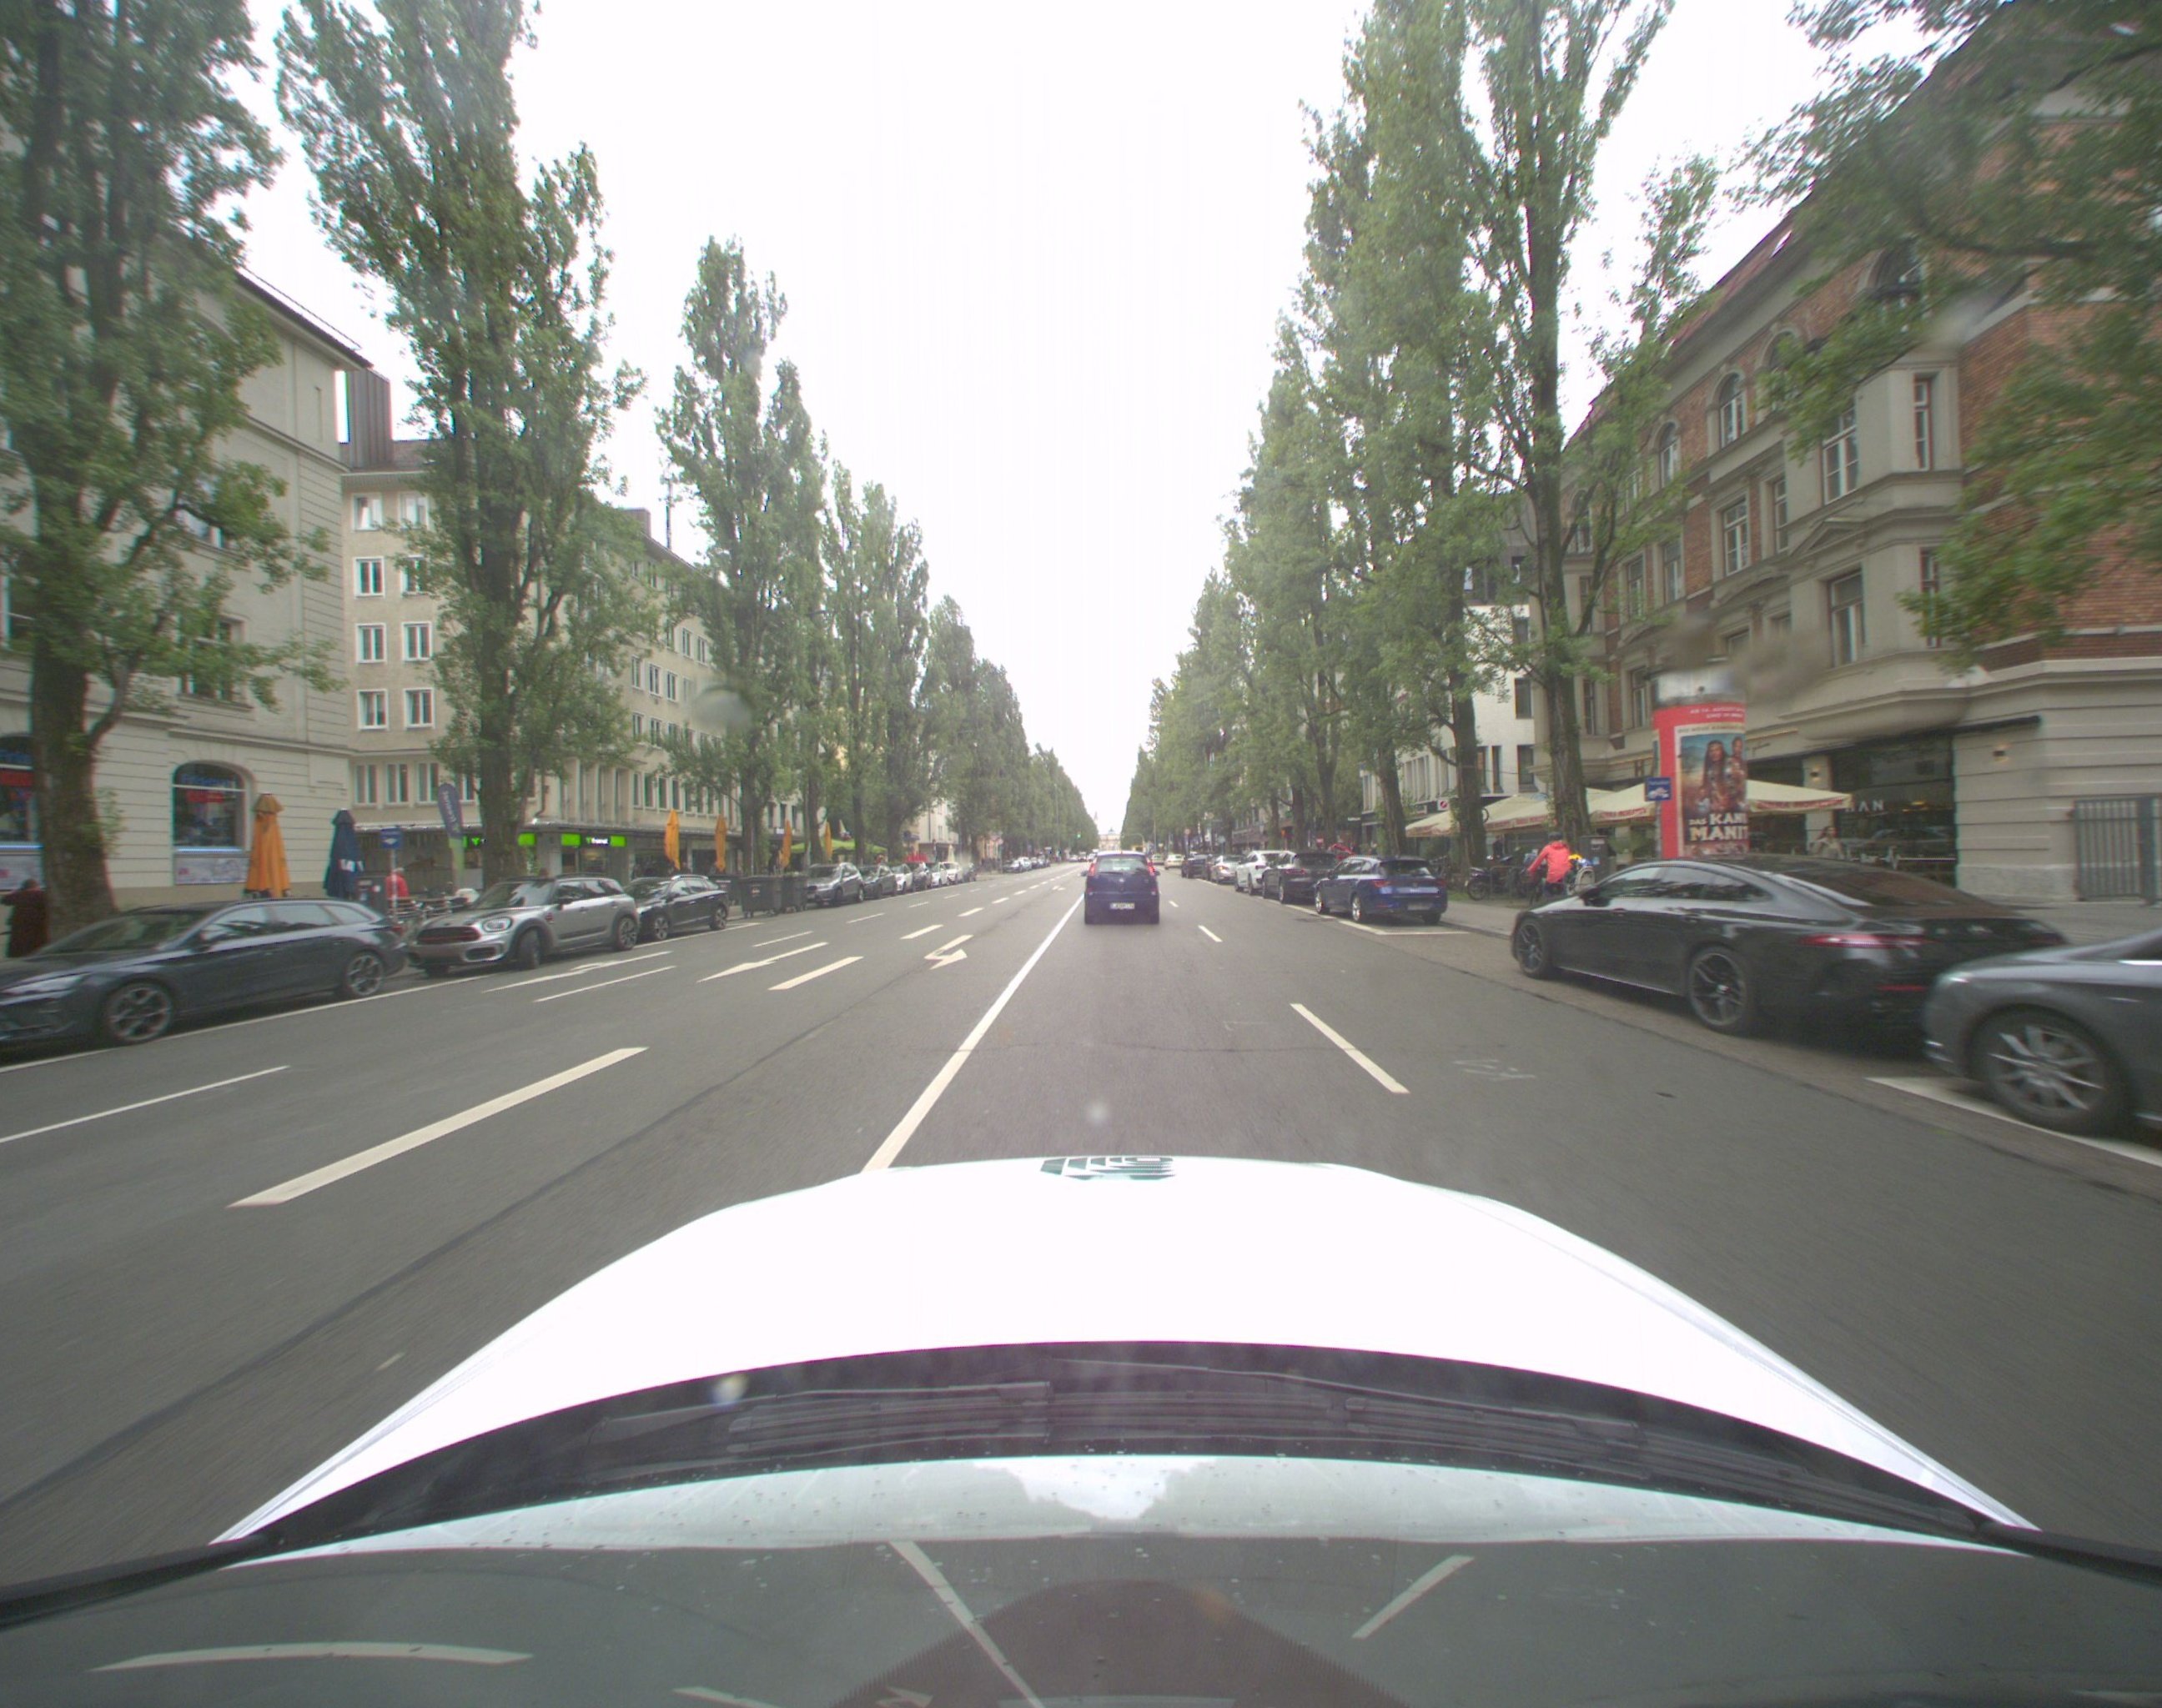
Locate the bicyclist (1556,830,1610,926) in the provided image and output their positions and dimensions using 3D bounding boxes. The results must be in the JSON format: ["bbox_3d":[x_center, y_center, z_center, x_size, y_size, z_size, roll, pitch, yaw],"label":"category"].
[{"bbox_3d":[8.493,0.405,13.797,0.619,1.588,0.391,-2,0,1],"label":"bicyclist"}]

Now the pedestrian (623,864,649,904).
[{"bbox_3d":[-19.629,1.327,35.950,0.623,1.721,0.827,-2,0,2],"label":"pedestrian"}]

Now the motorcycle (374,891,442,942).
[{"bbox_3d":[-16.558,1.516,20.089,0.476,1.139,1.807,-2,-1,-11],"label":"motorcycle"}]

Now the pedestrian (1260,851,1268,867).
[{"bbox_3d":[18.543,0.504,82.673,0.638,1.526,0.484,-2,0,2],"label":"pedestrian"}]

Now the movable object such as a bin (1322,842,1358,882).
[{"bbox_3d":[11.578,0.349,36.507,1.030,1.703,1.586,-2,0,-2],"label":"movable object such as a bin"}]

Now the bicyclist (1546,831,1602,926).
[{"bbox_3d":[8.502,0.407,14.044,0.619,1.588,0.481,-2,0,1],"label":"bicyclist"}]

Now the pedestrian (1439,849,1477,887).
[{"bbox_3d":[13.006,0.473,28.115,0.925,1.267,0.731,-2,0,1],"label":"pedestrian"}]

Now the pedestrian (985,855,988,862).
[{"bbox_3d":[-14.053,0.711,121.034,0.287,1.090,0.259,-2,0,7],"label":"pedestrian"}]

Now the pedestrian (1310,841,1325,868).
[{"bbox_3d":[16.698,0.035,57.592,0.790,1.812,0.682,-2,0,0],"label":"pedestrian"}]

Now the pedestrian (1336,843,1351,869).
[{"bbox_3d":[17.788,0.137,55.227,0.724,1.751,0.860,-1,-1,2],"label":"pedestrian"}]

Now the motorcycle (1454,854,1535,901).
[{"bbox_3d":[11.196,0.617,22.061,1.826,1.179,0.695,-2,0,-4],"label":"motorcycle"}]

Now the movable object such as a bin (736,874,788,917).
[{"bbox_3d":[-10.296,1.338,26.318,1.272,1.310,0.902,-2,0,2],"label":"movable object such as a bin"}]

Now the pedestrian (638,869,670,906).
[{"bbox_3d":[-20.836,1.622,39.747,0.848,1.744,1.149,-1,0,2],"label":"pedestrian"}]

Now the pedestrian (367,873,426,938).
[{"bbox_3d":[-18.173,1.346,21.635,0.731,1.673,0.953,0,-1,2],"label":"pedestrian"}]

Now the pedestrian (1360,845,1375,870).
[{"bbox_3d":[18.767,0.236,53.386,0.732,1.626,0.766,-1,-1,3],"label":"pedestrian"}]

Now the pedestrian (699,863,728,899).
[{"bbox_3d":[-18.142,1.323,40.201,0.848,1.744,1.149,-2,0,2],"label":"pedestrian"}]

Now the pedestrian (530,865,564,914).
[{"bbox_3d":[-19.374,1.277,29.565,0.623,1.721,0.827,-2,0,1],"label":"pedestrian"}]

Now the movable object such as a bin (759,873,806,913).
[{"bbox_3d":[-10.367,1.349,28.298,1.255,1.317,0.825,-2,0,0],"label":"movable object such as a bin"}]

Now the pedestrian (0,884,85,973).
[{"bbox_3d":[-19.005,1.338,14.818,0.765,1.537,0.805,0,-1,1],"label":"pedestrian"}]

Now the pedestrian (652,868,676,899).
[{"bbox_3d":[-18.727,1.322,36.584,0.623,1.325,0.827,-2,0,2],"label":"pedestrian"}]

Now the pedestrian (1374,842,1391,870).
[{"bbox_3d":[17.886,0.143,48.315,0.652,1.626,0.704,-2,0,-1],"label":"pedestrian"}]

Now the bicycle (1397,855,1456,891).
[{"bbox_3d":[11.573,0.629,27.264,1.826,1.139,0.370,-2,0,-4],"label":"bicycle"}]

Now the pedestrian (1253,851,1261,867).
[{"bbox_3d":[17.148,0.489,79.150,0.638,1.526,0.484,-2,0,2],"label":"pedestrian"}]

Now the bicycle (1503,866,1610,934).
[{"bbox_3d":[8.532,0.782,14.733,0.624,1.087,2.264,-2,0,1],"label":"bicycle"}]

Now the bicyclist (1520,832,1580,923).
[{"bbox_3d":[8.519,0.412,14.826,0.619,1.588,0.753,-2,0,1],"label":"bicyclist"}]

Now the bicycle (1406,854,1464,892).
[{"bbox_3d":[11.644,0.608,26.817,1.707,1.192,0.420,-2,0,-3],"label":"bicycle"}]

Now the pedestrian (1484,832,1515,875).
[{"bbox_3d":[17.006,-0.014,33.104,0.726,1.677,0.932,-2,0,2],"label":"pedestrian"}]

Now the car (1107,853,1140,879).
[{"bbox_3d":[2.663,0.716,51.915,1.986,1.497,4.001,-2,0,1],"label":"car"}]

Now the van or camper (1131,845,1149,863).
[{"bbox_3d":[8.955,0.037,123.143,2.467,2.581,5.848,-2,0,2],"label":"van or camper"}]

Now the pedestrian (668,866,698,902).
[{"bbox_3d":[-19.934,1.495,40.814,0.848,1.744,1.149,-2,0,2],"label":"pedestrian"}]

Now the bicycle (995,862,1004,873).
[{"bbox_3d":[-8.081,1.353,80.753,0.664,1.006,2.461,-2,0,-1],"label":"bicycle"}]

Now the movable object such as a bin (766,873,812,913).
[{"bbox_3d":[-10.432,1.385,29.144,1.309,1.317,0.819,-2,0,0],"label":"movable object such as a bin"}]

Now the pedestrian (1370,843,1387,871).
[{"bbox_3d":[17.230,0.166,47.133,0.652,1.626,0.704,-2,0,-1],"label":"pedestrian"}]

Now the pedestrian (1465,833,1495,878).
[{"bbox_3d":[16.248,0.065,33.147,0.726,1.802,0.932,-2,0,2],"label":"pedestrian"}]

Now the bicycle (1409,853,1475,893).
[{"bbox_3d":[11.642,0.605,26.294,1.865,1.192,0.575,-2,0,-3],"label":"bicycle"}]

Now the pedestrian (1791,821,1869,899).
[{"bbox_3d":[16.108,0.134,17.540,0.726,1.609,0.991,-2,0,2],"label":"pedestrian"}]
